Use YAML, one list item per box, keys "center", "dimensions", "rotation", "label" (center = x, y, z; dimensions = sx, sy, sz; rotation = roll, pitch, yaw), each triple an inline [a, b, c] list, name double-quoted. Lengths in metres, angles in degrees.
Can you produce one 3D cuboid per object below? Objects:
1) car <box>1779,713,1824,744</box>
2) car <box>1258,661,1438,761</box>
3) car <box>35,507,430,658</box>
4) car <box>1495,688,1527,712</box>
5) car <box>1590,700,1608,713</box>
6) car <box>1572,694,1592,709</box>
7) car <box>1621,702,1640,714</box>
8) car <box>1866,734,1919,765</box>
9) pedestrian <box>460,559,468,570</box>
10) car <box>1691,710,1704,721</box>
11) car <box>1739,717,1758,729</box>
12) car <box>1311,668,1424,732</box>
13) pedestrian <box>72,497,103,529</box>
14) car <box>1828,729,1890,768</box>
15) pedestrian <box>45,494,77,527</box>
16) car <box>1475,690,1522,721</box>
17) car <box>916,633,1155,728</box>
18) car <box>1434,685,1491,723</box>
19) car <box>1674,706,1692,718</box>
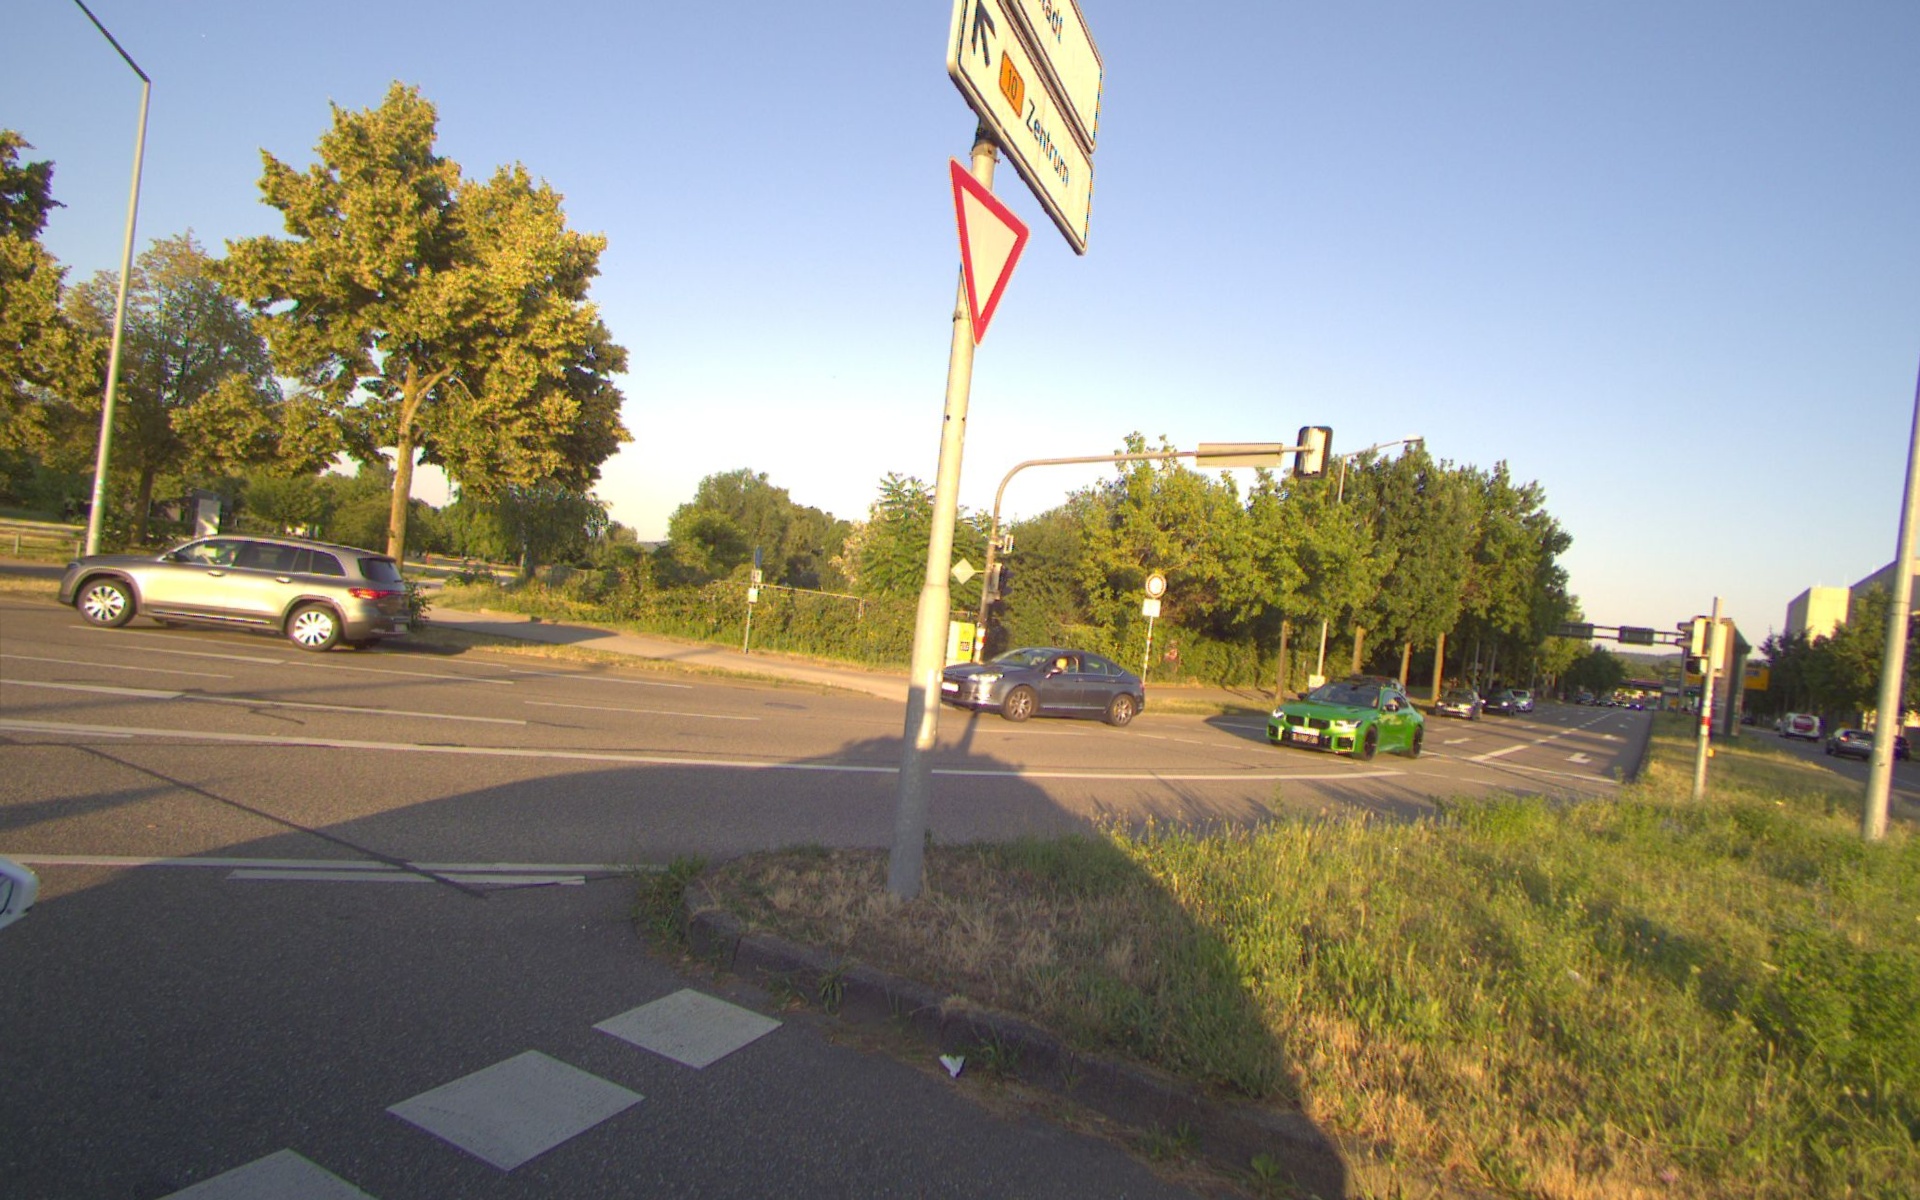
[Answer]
- center: [63.920, 9.731, 76.509]
  dimensions: [2.036, 1.970, 4.947]
  rotation: [7, -1, 35]
  label: "car"
- center: [7.901, 2.218, 20.228]
  dimensions: [1.972, 1.597, 4.468]
  rotation: [5, -2, 40]
  label: "car"
- center: [-11.131, -0.232, 15.759]
  dimensions: [4.450, 1.657, 1.997]
  rotation: [7, 0, -10]
  label: "car"
- center: [37.138, 6.741, 67.794]
  dimensions: [1.837, 1.469, 3.968]
  rotation: [2, -5, 29]
  label: "car"
- center: [94.431, 15.738, 148.635]
  dimensions: [1.967, 1.522, 4.614]
  rotation: [6, -2, 31]
  label: "car"
- center: [77.056, 12.579, 124.616]
  dimensions: [1.885, 1.602, 4.170]
  rotation: [7, -1, 34]
  label: "car"
- center: [97.882, 15.776, 146.821]
  dimensions: [1.969, 1.523, 4.758]
  rotation: [7, -1, 35]
  label: "car"
- center: [57.377, 9.172, 61.956]
  dimensions: [1.971, 1.444, 4.183]
  rotation: [7, -1, 39]
  label: "car"
- center: [-80.961, -5.782, 164.178]
  dimensions: [0.841, 1.681, 0.975]
  rotation: [7, 0, -15]
  label: "pedestrian"
- center: [148.033, 23.148, 201.977]
  dimensions: [1.969, 1.804, 3.988]
  rotation: [7, -1, 37]
  label: "car"
- center: [123.433, 19.209, 157.462]
  dimensions: [1.969, 1.593, 3.989]
  rotation: [7, -1, 35]
  label: "car"
- center: [12.688, 3.104, 31.164]
  dimensions: [1.970, 1.592, 4.399]
  rotation: [7, -1, 38]
  label: "car"
- center: [-50.165, -4.990, 57.845]
  dimensions: [0.896, 1.637, 1.070]
  rotation: [7, 0, 34]
  label: "pedestrian"
- center: [47.609, 7.829, 53.350]
  dimensions: [1.970, 1.648, 3.987]
  rotation: [7, -1, 37]
  label: "car"
- center: [-50.977, -5.064, 57.031]
  dimensions: [0.896, 1.637, 1.070]
  rotation: [7, 0, 34]
  label: "pedestrian"
- center: [31.744, 6.194, 59.263]
  dimensions: [1.838, 1.471, 4.152]
  rotation: [7, -1, 35]
  label: "car"
- center: [1.593, 1.631, 20.010]
  dimensions: [4.633, 1.481, 1.868]
  rotation: [8, -3, -38]
  label: "car"
- center: [24.195, 4.958, 48.382]
  dimensions: [1.837, 1.407, 4.152]
  rotation: [10, 2, 33]
  label: "car"
- center: [109.497, 16.975, 152.297]
  dimensions: [1.969, 1.523, 4.101]
  rotation: [7, -1, 35]
  label: "car"
